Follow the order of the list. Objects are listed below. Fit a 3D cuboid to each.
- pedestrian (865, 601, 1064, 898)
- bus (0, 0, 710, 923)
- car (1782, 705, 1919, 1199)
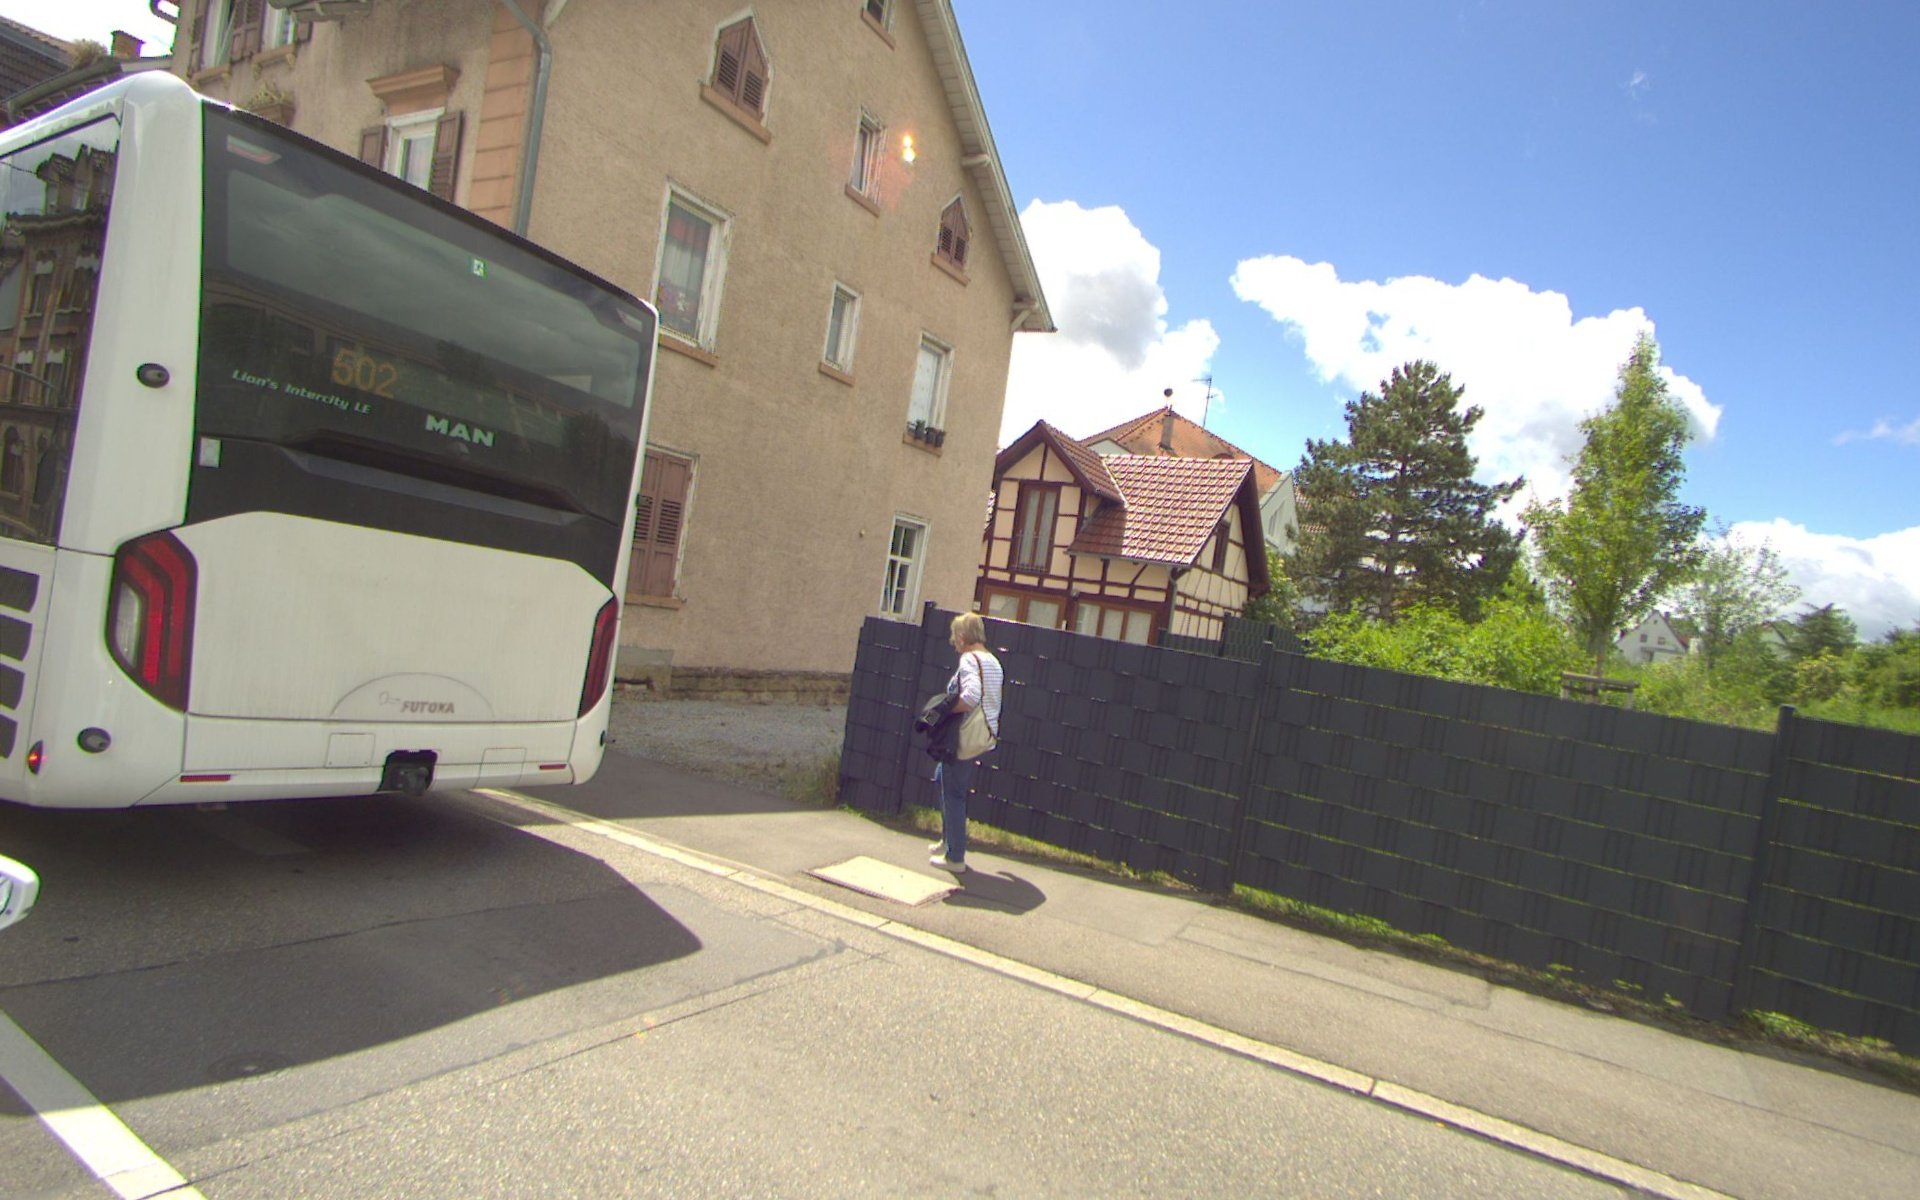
[{"bbox_3d":[0.044,0.854,6.081,0.700,1.581,0.860,7,1,31],"label":"pedestrian"},{"bbox_3d":[-7.455,-0.962,7.809,12.255,3.194,2.676,7,0,32],"label":"bus"},{"bbox_3d":[3.606,1.228,0.526,4.605,1.631,1.924,7,-2,32],"label":"car"}]
